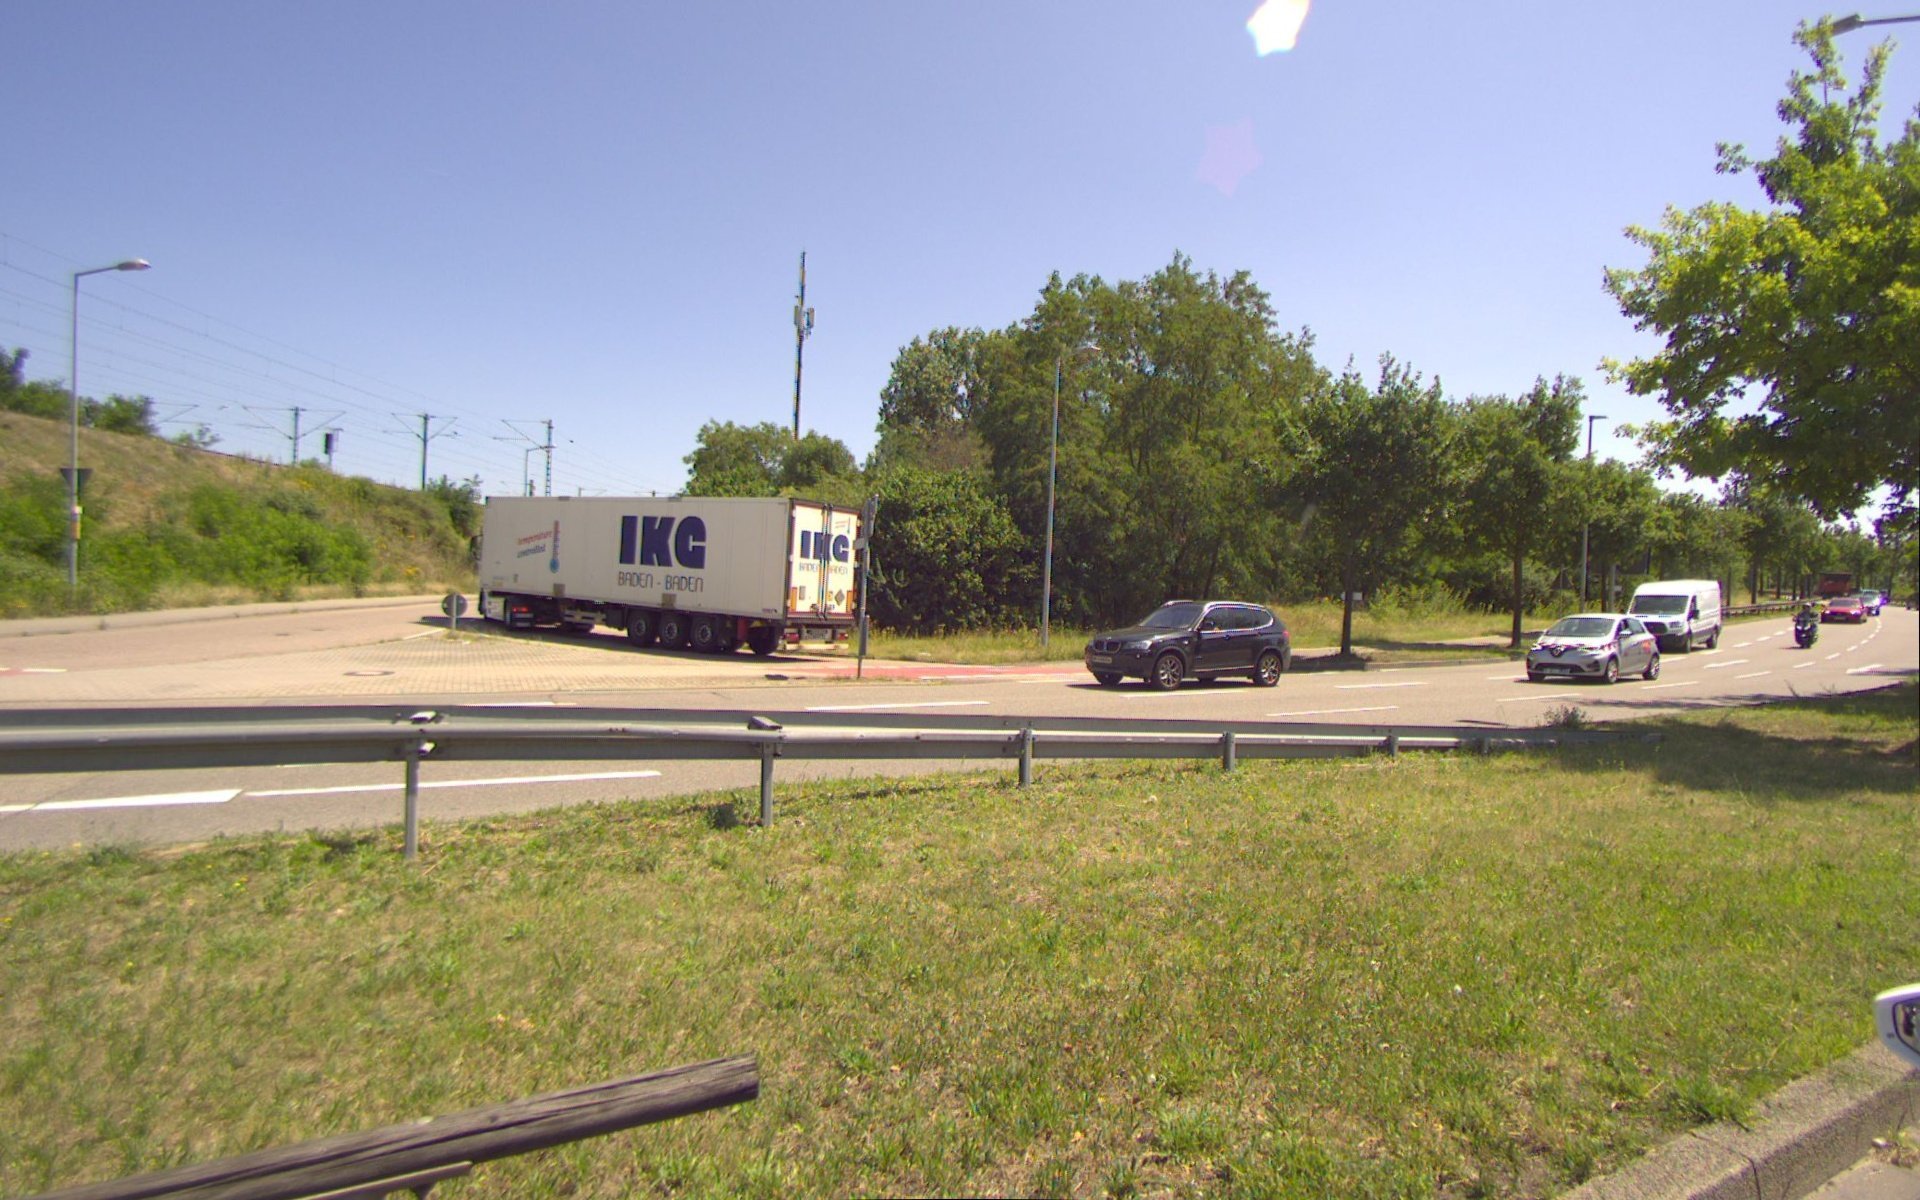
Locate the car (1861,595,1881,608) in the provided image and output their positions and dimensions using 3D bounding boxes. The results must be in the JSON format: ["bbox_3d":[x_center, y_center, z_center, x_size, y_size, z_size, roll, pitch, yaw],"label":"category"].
[{"bbox_3d":[91.460,0.162,100.869,1.306,1.154,2.981,2,0,40],"label":"car"}]

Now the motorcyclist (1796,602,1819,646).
[{"bbox_3d":[32.116,0.904,38.068,0.559,1.648,0.581,1,0,-44],"label":"motorcyclist"}]

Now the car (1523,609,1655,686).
[{"bbox_3d":[14.761,1.030,23.475,4.042,1.588,1.619,-1,0,-43],"label":"car"}]

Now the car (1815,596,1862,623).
[{"bbox_3d":[51.748,0.585,59.125,1.812,1.456,4.497,-1,-2,45],"label":"car"}]

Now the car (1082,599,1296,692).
[{"bbox_3d":[4.559,0.863,19.735,4.428,1.654,1.479,2,0,-35],"label":"car"}]

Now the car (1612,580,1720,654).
[{"bbox_3d":[26.121,0.560,37.073,5.766,2.534,2.075,0,0,-42],"label":"car"}]

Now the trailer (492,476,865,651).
[{"bbox_3d":[-8.430,-0.916,28.502,12.494,4.104,3.011,1,1,35],"label":"trailer"}]

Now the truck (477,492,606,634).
[{"bbox_3d":[-13.551,-1.088,32.217,2.526,4.075,6.209,2,0,-34],"label":"truck"}]

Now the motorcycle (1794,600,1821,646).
[{"bbox_3d":[32.214,0.880,38.169,0.591,1.700,2.410,2,0,44],"label":"motorcycle"}]

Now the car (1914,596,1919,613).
[{"bbox_3d":[79.798,0.365,82.830,1.401,1.331,3.321,2,0,40],"label":"car"}]

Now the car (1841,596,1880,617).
[{"bbox_3d":[63.030,0.473,70.293,4.539,1.351,1.791,2,0,-45],"label":"car"}]
